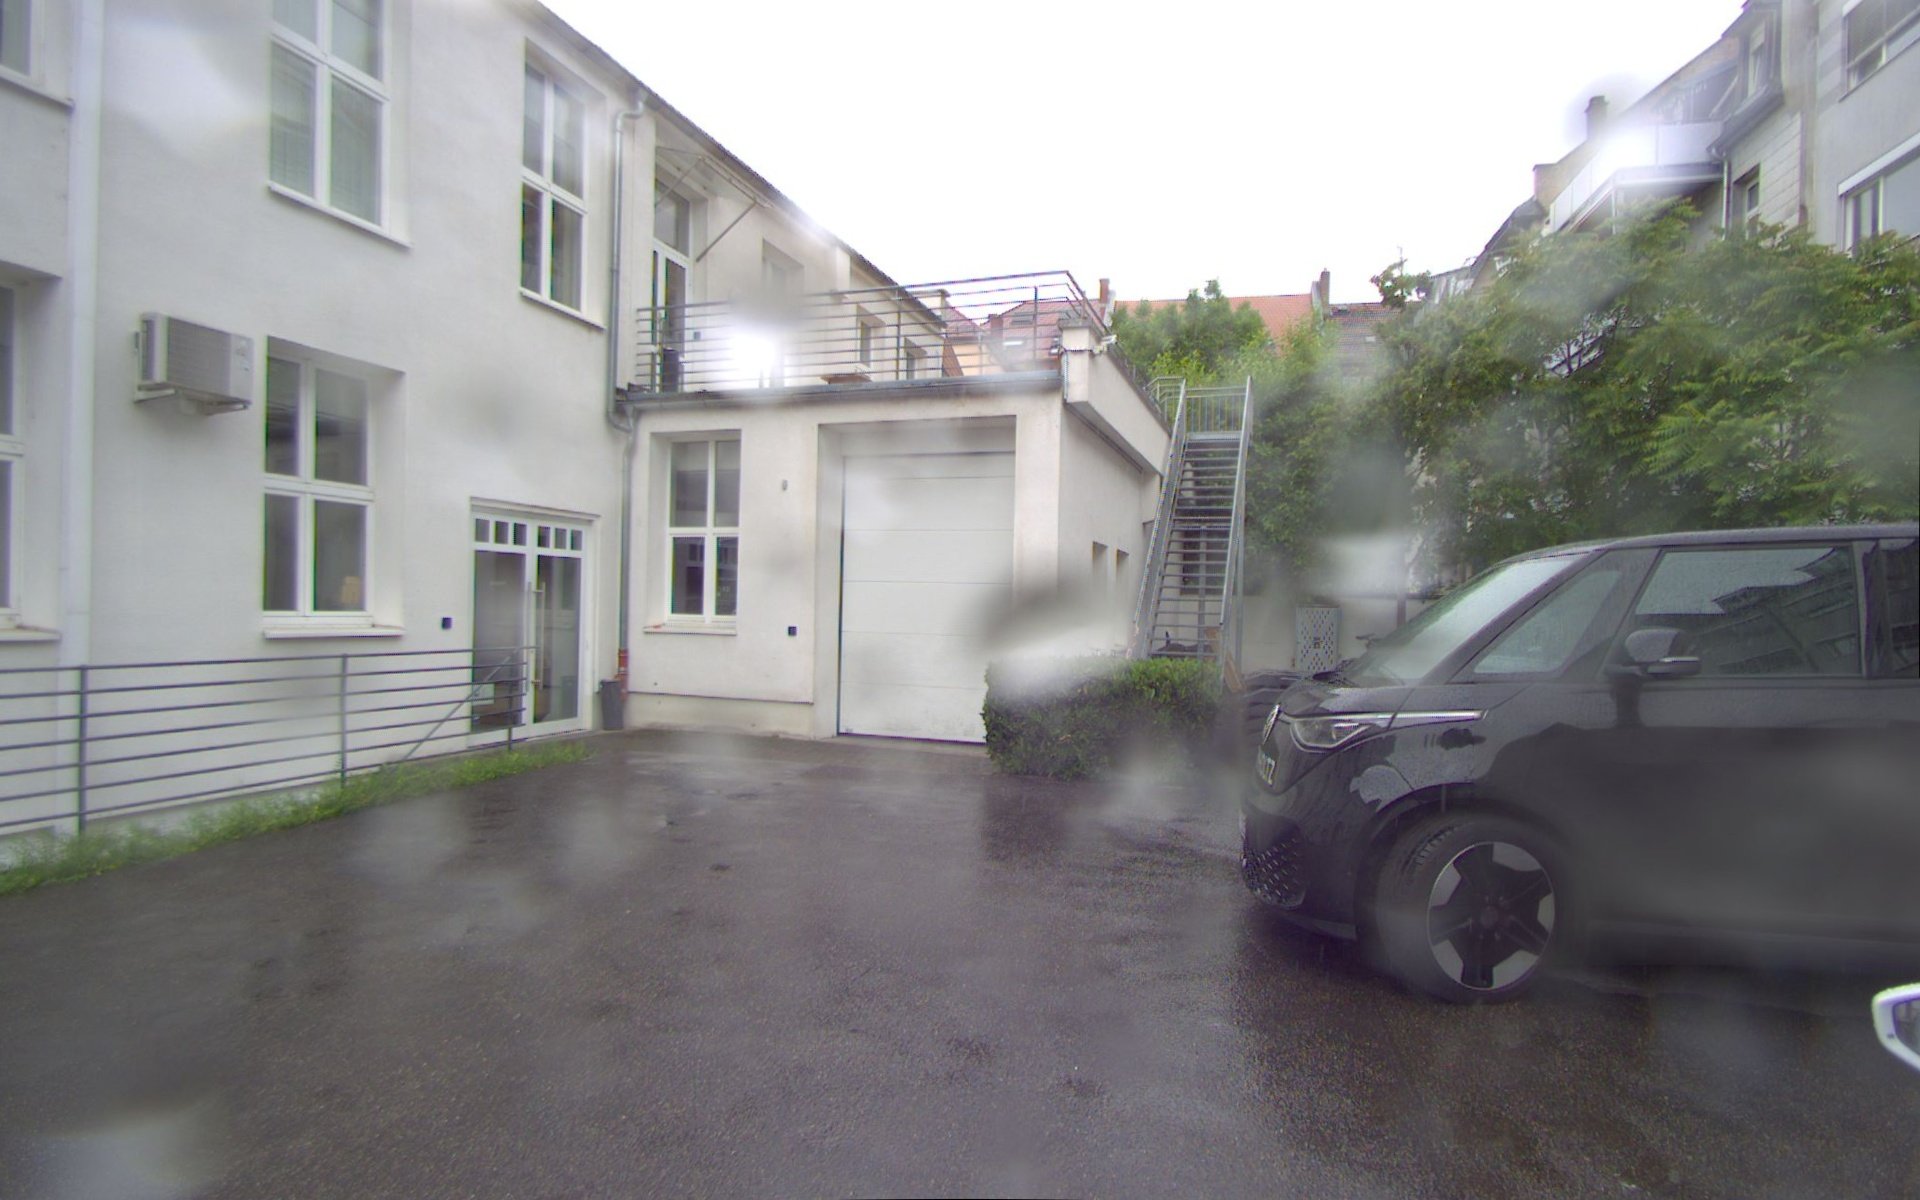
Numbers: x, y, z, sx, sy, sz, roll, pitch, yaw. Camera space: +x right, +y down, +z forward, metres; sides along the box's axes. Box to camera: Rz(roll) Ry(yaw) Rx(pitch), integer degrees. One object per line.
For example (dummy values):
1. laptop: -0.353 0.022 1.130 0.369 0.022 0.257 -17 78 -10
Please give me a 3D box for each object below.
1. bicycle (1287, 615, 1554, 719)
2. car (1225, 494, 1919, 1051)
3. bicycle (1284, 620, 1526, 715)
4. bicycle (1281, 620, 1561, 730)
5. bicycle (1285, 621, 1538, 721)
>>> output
1. bicycle: 6.056 0.863 13.424 3.159 1.258 0.631 1 -1 16
2. car: 3.549 0.619 4.474 4.430 1.922 2.048 1 -1 11
3. bicycle: 6.423 0.955 14.687 3.159 1.258 0.631 1 -1 16
4. bicycle: 5.749 0.913 12.750 3.159 1.258 0.631 1 -1 16
5. bicycle: 6.234 0.955 14.065 3.159 1.258 0.631 1 -1 16
